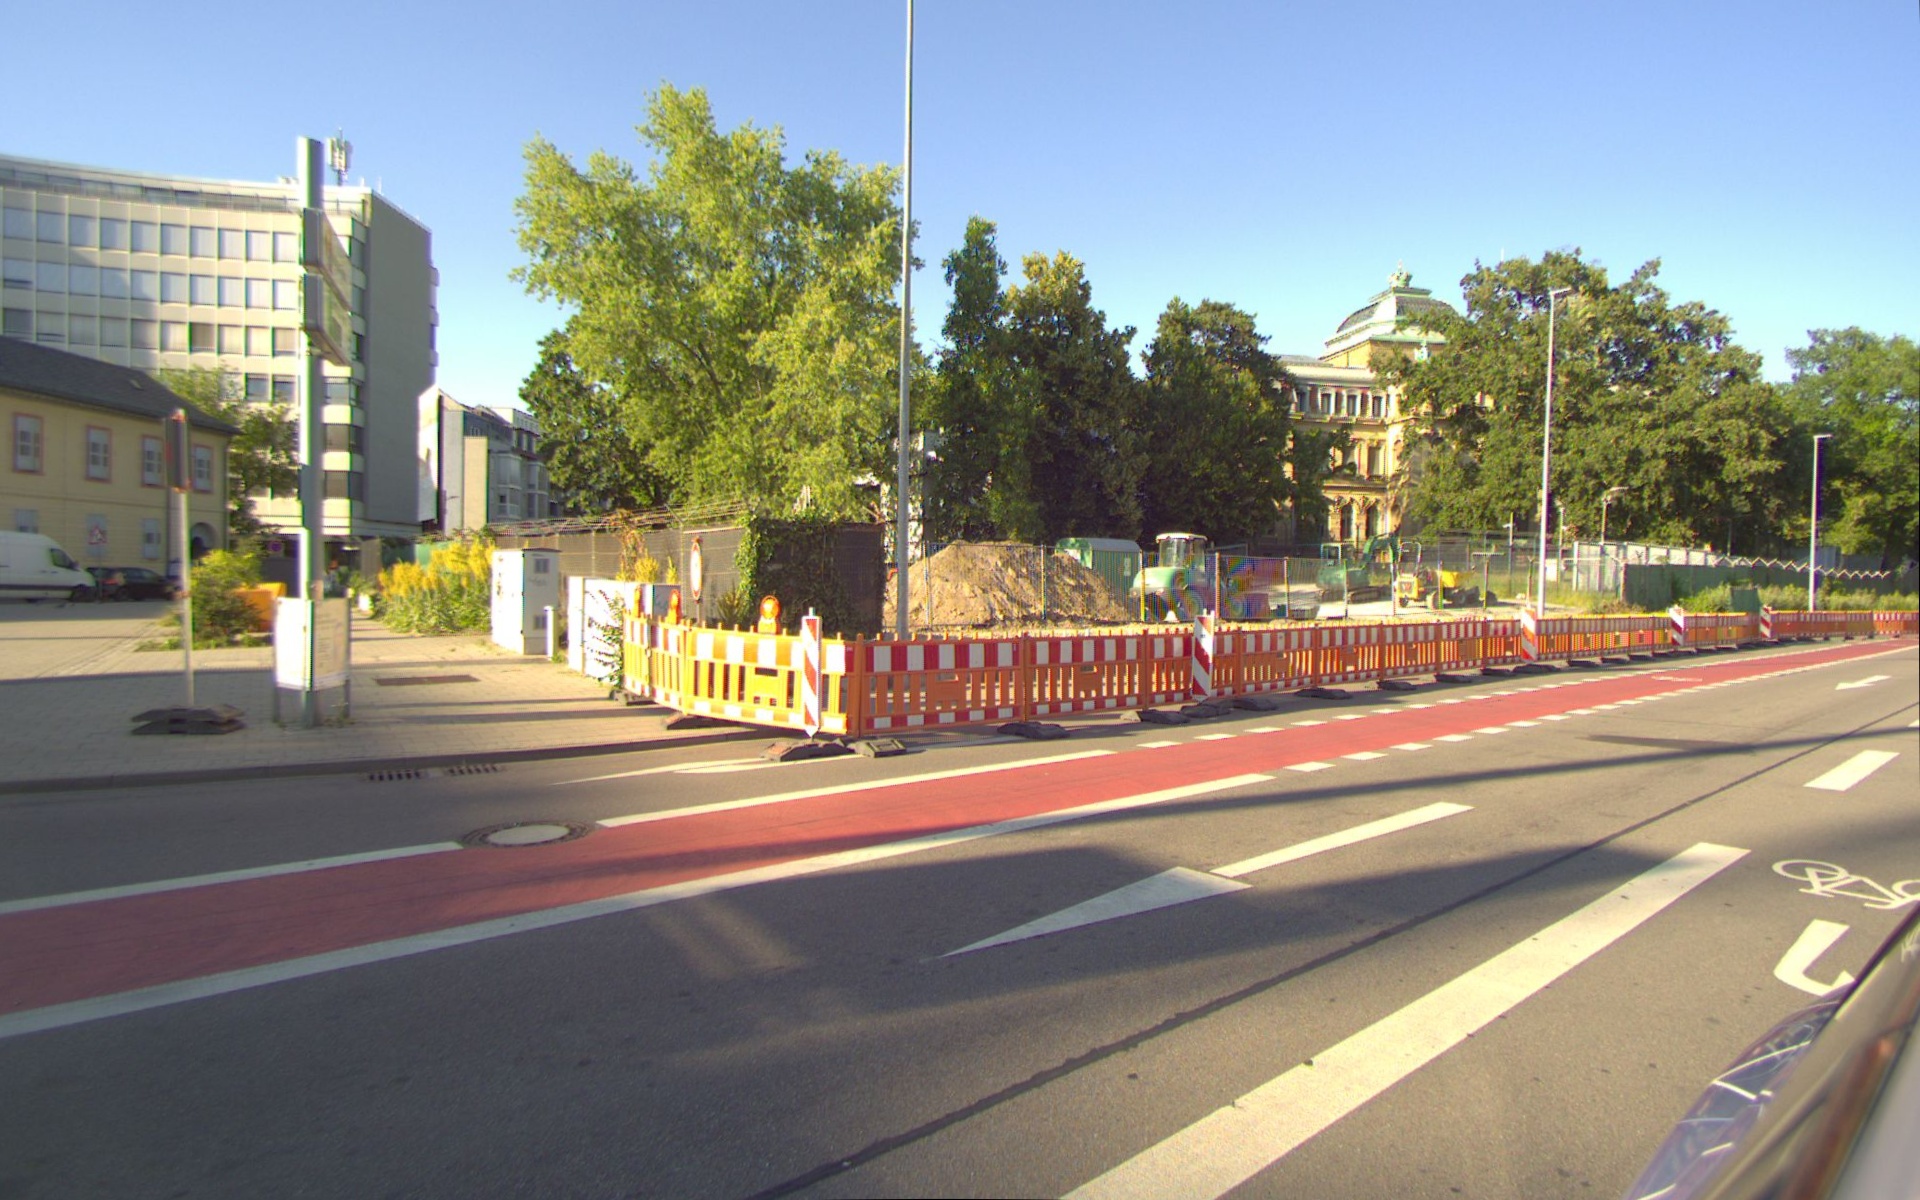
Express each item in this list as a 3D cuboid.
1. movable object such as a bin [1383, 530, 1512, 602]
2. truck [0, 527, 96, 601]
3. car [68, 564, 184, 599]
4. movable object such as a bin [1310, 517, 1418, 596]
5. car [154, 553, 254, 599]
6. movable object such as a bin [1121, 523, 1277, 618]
[{"bbox_3d":[20.424,-1.369,42.356,5.750,2.852,2.002,-1,0,-30],"label":"movable object such as a bin"},{"bbox_3d":[-34.317,-1.255,36.058,2.258,2.581,5.638,0,0,1],"label":"truck"},{"bbox_3d":[-34.343,-0.734,41.817,1.682,1.382,3.761,0,0,1],"label":"car"},{"bbox_3d":[18.156,-1.874,45.375,5.274,3.371,1.999,-1,0,-36],"label":"movable object such as a bin"},{"bbox_3d":[-34.398,-1.087,46.172,1.682,2.005,3.761,0,0,1],"label":"car"},{"bbox_3d":[7.436,-0.876,31.295,4.920,2.717,1.999,-1,0,-36],"label":"movable object such as a bin"}]
